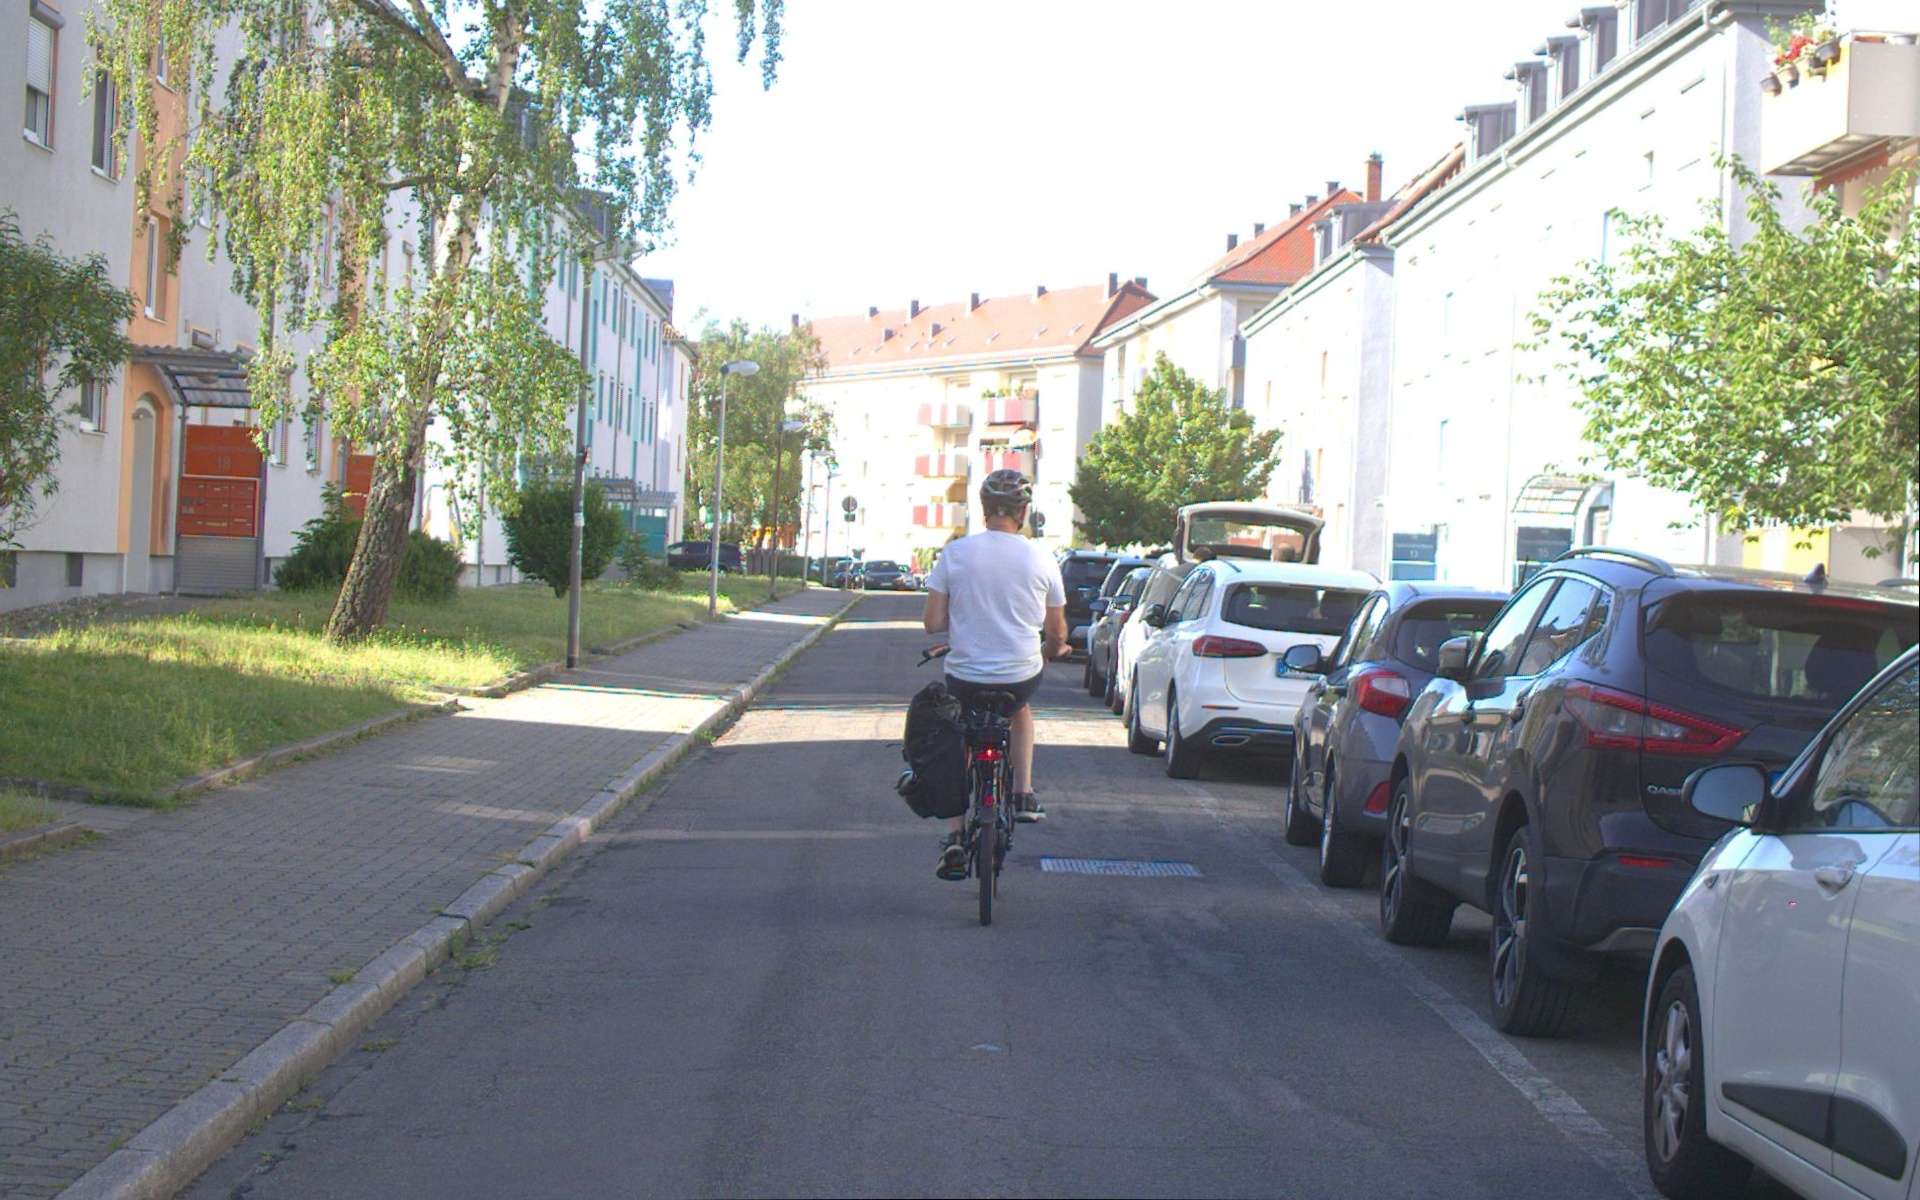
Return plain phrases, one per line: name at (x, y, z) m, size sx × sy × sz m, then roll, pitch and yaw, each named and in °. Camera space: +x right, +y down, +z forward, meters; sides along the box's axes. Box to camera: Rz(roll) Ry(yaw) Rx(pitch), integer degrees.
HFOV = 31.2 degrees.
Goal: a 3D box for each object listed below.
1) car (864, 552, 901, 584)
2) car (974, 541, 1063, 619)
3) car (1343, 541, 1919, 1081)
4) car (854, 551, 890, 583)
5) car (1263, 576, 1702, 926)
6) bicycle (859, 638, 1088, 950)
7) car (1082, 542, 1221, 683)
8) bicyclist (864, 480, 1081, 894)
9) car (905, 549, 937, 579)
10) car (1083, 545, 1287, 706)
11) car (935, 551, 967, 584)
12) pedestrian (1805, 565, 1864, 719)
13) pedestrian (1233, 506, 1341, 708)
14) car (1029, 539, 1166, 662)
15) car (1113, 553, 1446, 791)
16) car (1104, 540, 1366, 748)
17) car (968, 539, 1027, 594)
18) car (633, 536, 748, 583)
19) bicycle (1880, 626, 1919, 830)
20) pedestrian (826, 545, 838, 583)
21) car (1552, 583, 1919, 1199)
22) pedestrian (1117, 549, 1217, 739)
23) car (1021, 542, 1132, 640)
car at (-3.346, -1.386, 147.453) m, size 1.469 × 1.331 × 3.141 m, roll 2°, pitch 1°, yaw -3°
car at (1.350, -0.490, 80.590) m, size 1.862 × 1.662 × 4.127 m, roll 4°, pitch 1°, yaw -1°
car at (2.551, 0.595, 12.320) m, size 1.723 × 1.573 × 4.353 m, roll 1°, pitch 1°, yaw -2°
car at (-3.909, -1.472, 152.346) m, size 1.469 × 1.331 × 3.141 m, roll 2°, pitch 1°, yaw -3°
car at (2.538, 0.667, 17.563) m, size 1.647 × 1.444 × 4.060 m, roll 4°, pitch 1°, yaw 2°
bicycle at (0.021, 0.758, 14.269) m, size 0.808 × 1.124 × 2.102 m, roll 1°, pitch 1°, yaw -3°
car at (2.288, 0.123, 41.058) m, size 1.480 × 1.524 × 2.940 m, roll 4°, pitch 1°, yaw 3°
bicyclist at (0.039, 0.341, 14.172) m, size 0.808 × 1.638 × 0.899 m, roll 1°, pitch 1°, yaw -3°
car at (-2.018, -1.866, 177.117) m, size 1.469 × 1.511 × 3.077 m, roll 2°, pitch 1°, yaw -3°
car at (2.337, 0.224, 36.584) m, size 1.693 × 1.486 × 3.985 m, roll 4°, pitch 1°, yaw -2°
car at (-0.440, -1.563, 164.481) m, size 1.381 × 1.492 × 3.077 m, roll 2°, pitch 1°, yaw -3°
pedestrian at (8.531, 0.411, 33.550) m, size 0.450 × 1.490 × 0.360 m, roll 2°, pitch -1°, yaw 0°
pedestrian at (2.765, 0.052, 29.121) m, size 0.819 × 1.681 × 0.604 m, roll 1°, pitch 1°, yaw -1°
car at (2.006, -0.035, 51.234) m, size 1.783 × 1.642 × 4.469 m, roll 4°, pitch 1°, yaw 0°
car at (2.246, 0.456, 25.340) m, size 1.772 × 1.499 × 4.481 m, roll 3°, pitch 1°, yaw -3°
car at (2.408, 0.323, 31.338) m, size 1.994 × 1.607 × 4.995 m, roll 4°, pitch 1°, yaw 1°
car at (1.232, -1.142, 115.242) m, size 1.674 × 1.733 × 3.943 m, roll 3°, pitch 1°, yaw -3°
car at (-10.124, -1.527, 129.201) m, size 4.231 × 1.633 × 1.583 m, roll 2°, pitch 1°, yaw -4°
bicycle at (6.595, 0.752, 19.689) m, size 2.424 × 1.126 × 0.879 m, roll 1°, pitch 1°, yaw 6°
pedestrian at (-5.377, -1.515, 144.072) m, size 0.434 × 1.569 × 0.543 m, roll 2°, pitch 1°, yaw -1°
car at (2.542, 0.812, 7.208) m, size 1.713 × 1.504 × 3.854 m, roll 5°, pitch 1°, yaw -2°
pedestrian at (1.751, 0.362, 29.211) m, size 0.739 × 1.569 × 0.880 m, roll 1°, pitch 1°, yaw -1°
car at (1.874, -0.174, 56.329) m, size 1.641 × 1.493 × 4.156 m, roll 2°, pitch 1°, yaw 0°
